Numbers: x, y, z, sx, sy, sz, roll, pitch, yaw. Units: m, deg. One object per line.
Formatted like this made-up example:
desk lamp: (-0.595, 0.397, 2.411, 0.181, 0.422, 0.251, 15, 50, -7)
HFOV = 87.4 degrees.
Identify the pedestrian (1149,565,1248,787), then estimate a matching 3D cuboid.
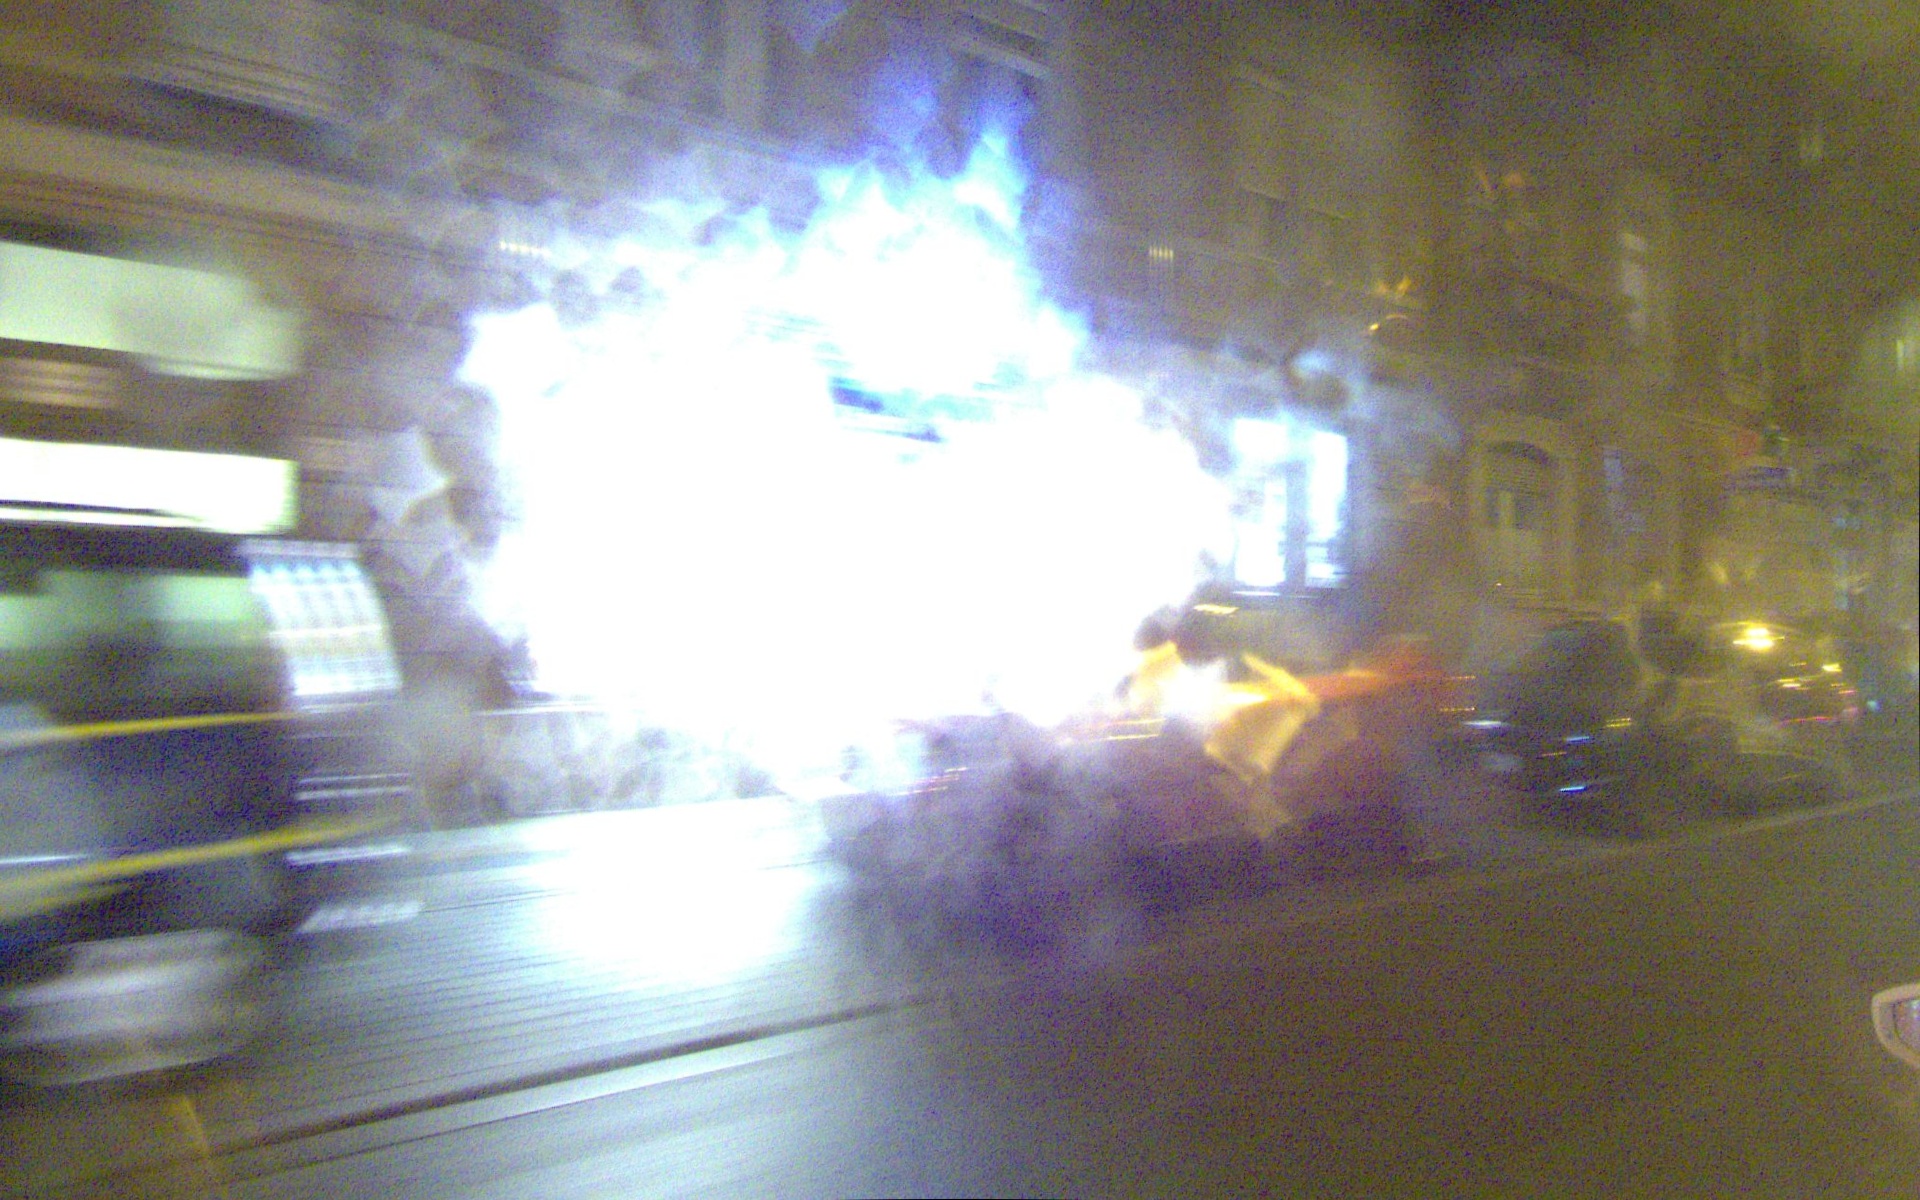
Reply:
pedestrian: (2.030, 0.631, 8.588, 0.543, 1.804, 0.636, 1, -1, -29)

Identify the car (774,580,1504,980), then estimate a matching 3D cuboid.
car: (1.123, 0.728, 5.658, 3.978, 1.573, 1.595, 1, 0, -31)

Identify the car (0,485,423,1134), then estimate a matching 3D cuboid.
car: (-3.688, 0.544, 2.930, 3.678, 1.729, 1.595, 1, -1, -31)

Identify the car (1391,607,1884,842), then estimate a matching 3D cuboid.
car: (5.620, 0.824, 8.202, 4.265, 1.475, 1.678, 1, 0, -31)

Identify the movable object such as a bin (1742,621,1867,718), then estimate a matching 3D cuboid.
movable object such as a bin: (13.388, 1.072, 15.942, 1.139, 1.439, 1.136, 1, 1, -27)

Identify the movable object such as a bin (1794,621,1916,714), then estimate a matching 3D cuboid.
movable object such as a bin: (14.932, 1.094, 16.769, 1.232, 1.439, 1.136, 1, 1, -27)
